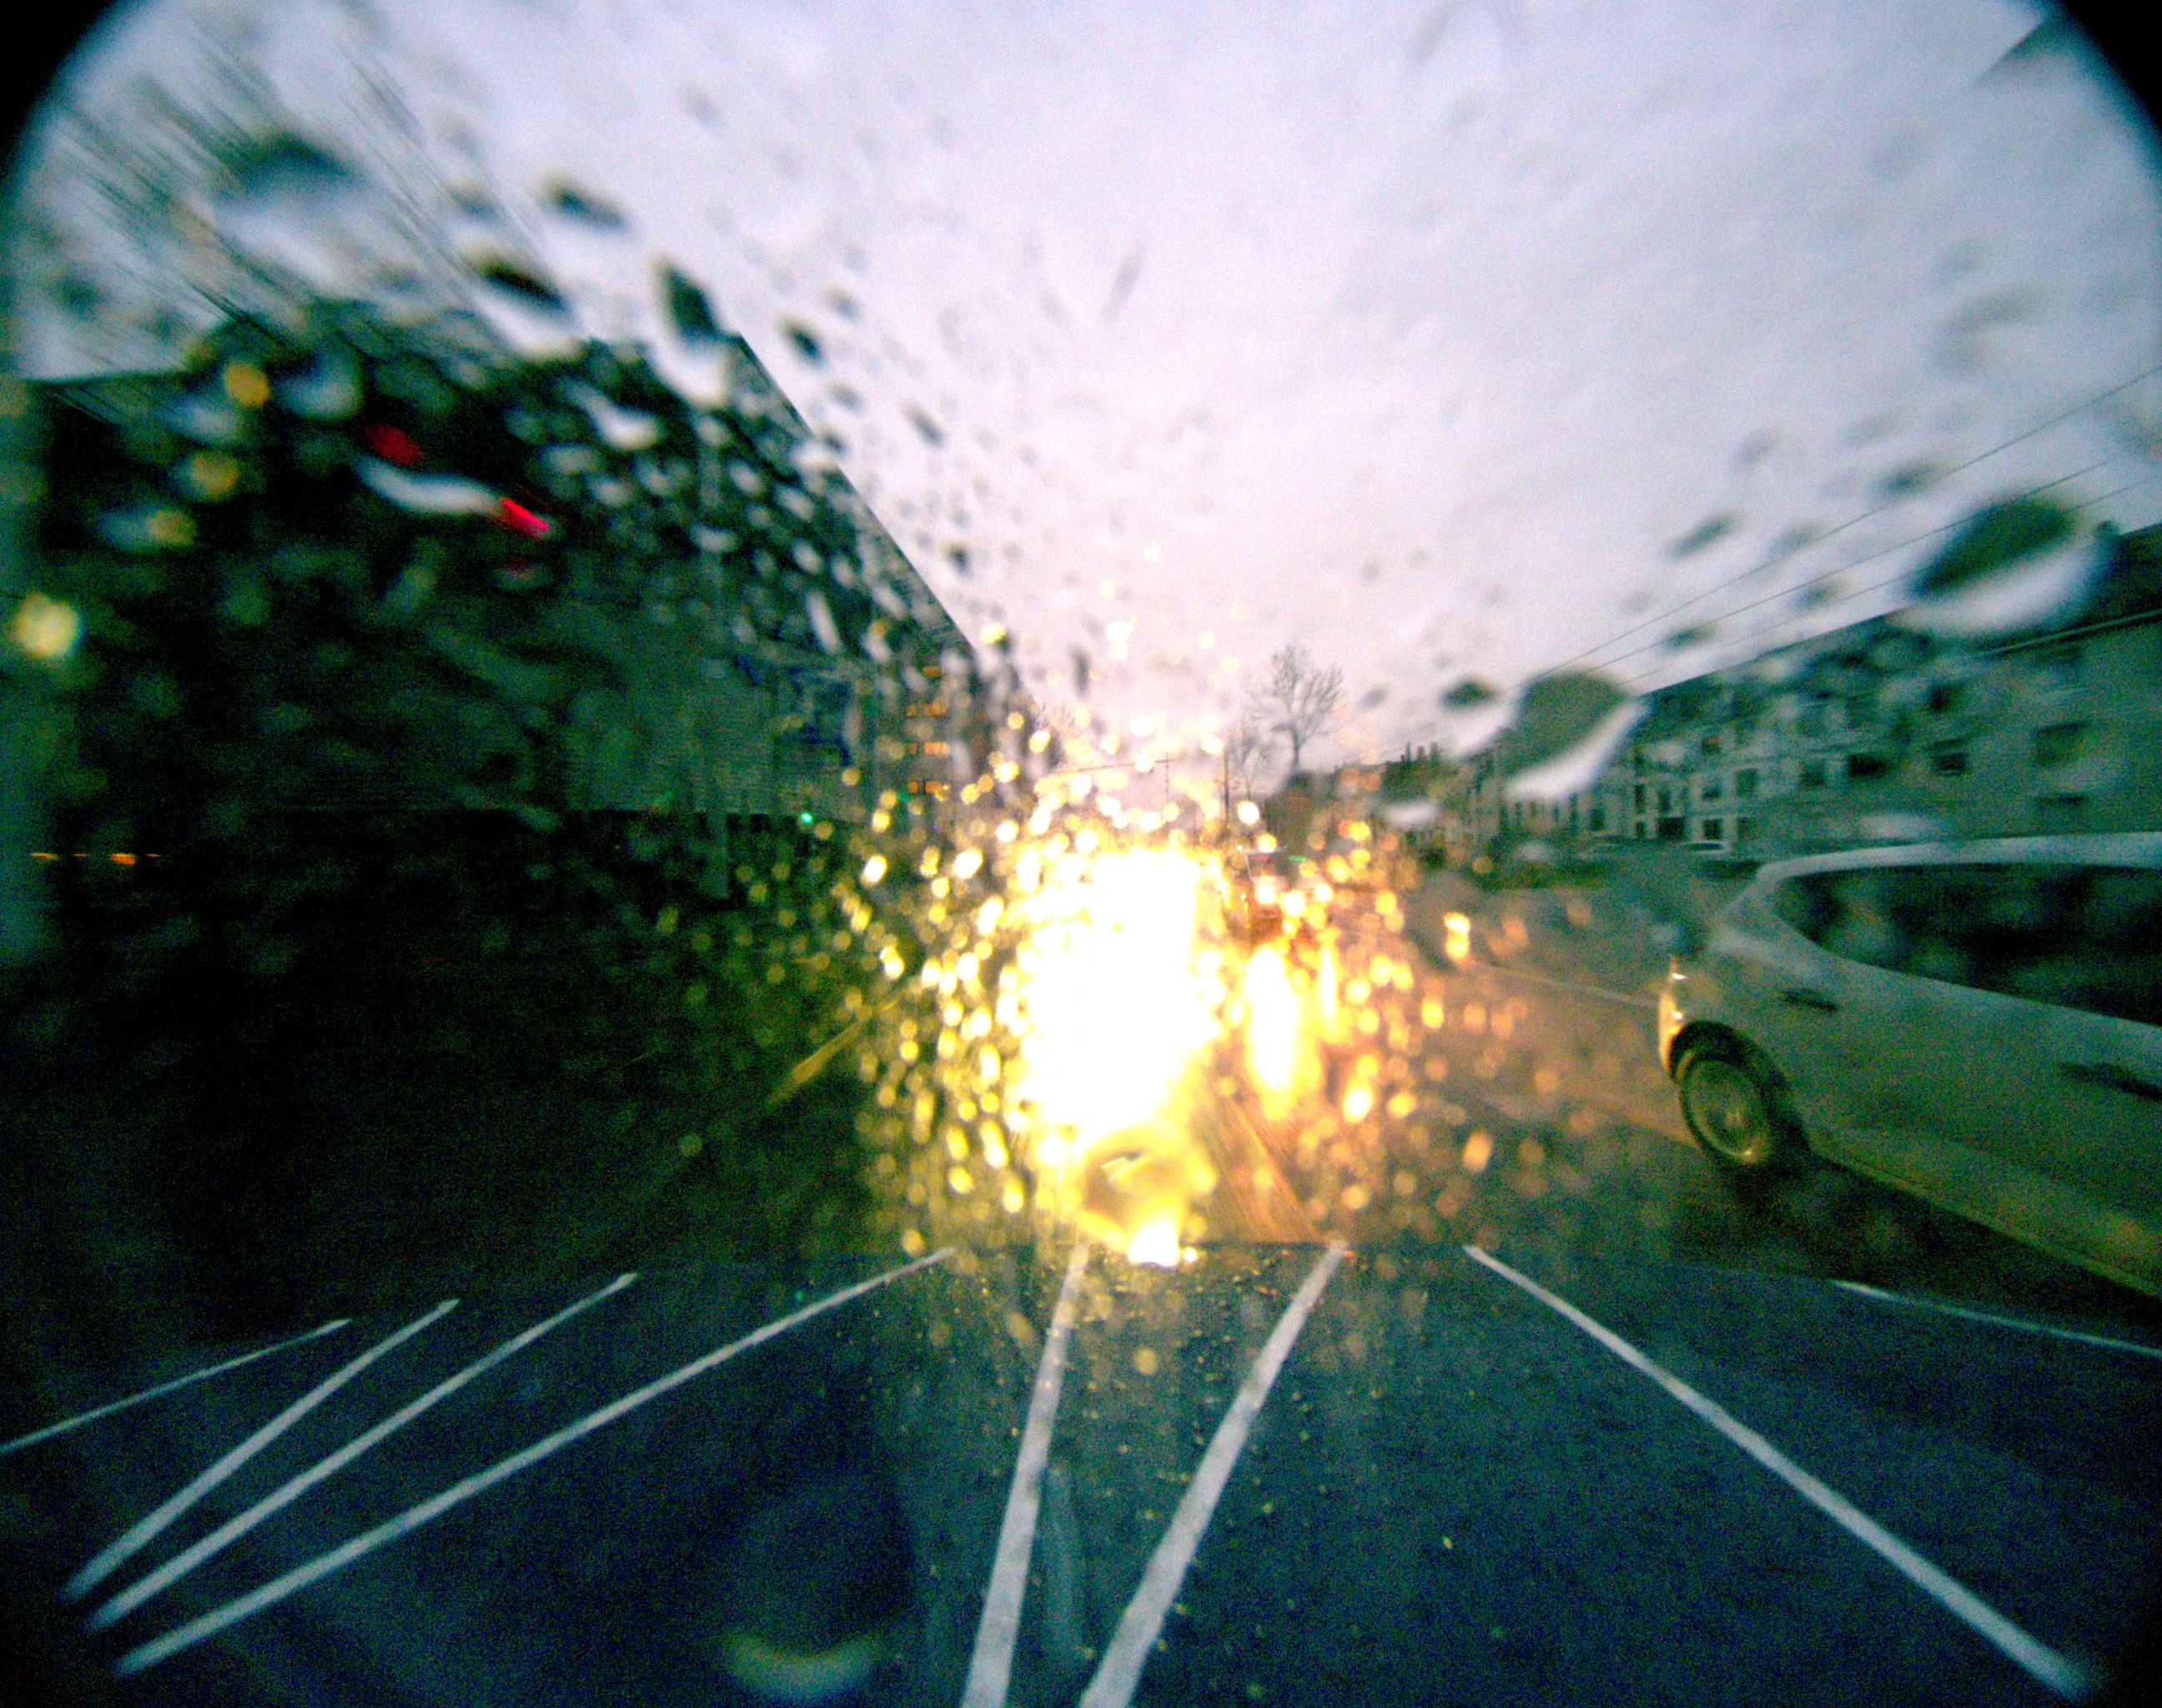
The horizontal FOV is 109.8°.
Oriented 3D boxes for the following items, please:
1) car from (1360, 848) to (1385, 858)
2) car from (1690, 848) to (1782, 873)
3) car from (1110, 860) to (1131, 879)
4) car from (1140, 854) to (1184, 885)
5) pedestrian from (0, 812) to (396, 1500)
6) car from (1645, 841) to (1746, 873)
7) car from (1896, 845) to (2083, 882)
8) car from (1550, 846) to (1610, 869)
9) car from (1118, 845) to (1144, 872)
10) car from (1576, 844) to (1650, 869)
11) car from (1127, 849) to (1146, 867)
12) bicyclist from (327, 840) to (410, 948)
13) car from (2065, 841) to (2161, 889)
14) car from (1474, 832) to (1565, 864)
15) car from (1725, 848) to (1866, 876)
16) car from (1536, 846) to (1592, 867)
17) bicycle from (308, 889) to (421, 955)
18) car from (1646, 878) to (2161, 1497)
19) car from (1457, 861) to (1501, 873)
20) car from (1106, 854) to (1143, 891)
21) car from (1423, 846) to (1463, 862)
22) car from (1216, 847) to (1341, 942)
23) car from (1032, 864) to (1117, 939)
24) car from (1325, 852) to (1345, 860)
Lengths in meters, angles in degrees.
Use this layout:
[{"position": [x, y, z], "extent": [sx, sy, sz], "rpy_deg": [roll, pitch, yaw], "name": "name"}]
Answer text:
[{"position": [37.405, -0.115, 97.549], "extent": [2.626, 1.100, 1.255], "rpy_deg": [-3, 1, 6], "name": "car"}, {"position": [31.478, 0.314, 36.621], "extent": [3.305, 1.125, 1.316], "rpy_deg": [-1, 0, 37], "name": "car"}, {"position": [3.244, 1.240, 62.052], "extent": [1.595, 1.428, 3.805], "rpy_deg": [-3, 0, 2], "name": "car"}, {"position": [4.216, 0.795, 40.082], "extent": [1.975, 1.492, 4.092], "rpy_deg": [-3, 0, 2], "name": "car"}, {"position": [-2.822, 0.791, 2.335], "extent": [0.772, 1.798, 0.699], "rpy_deg": [3, 2, 0], "name": "pedestrian"}, {"position": [31.990, 0.172, 39.664], "extent": [4.002, 1.496, 1.316], "rpy_deg": [-2, 1, 39], "name": "car"}, {"position": [31.521, 0.347, 26.555], "extent": [3.989, 1.125, 1.364], "rpy_deg": [-2, 1, 39], "name": "car"}, {"position": [32.659, 0.247, 49.758], "extent": [3.199, 1.376, 1.316], "rpy_deg": [-2, -1, 35], "name": "car"}, {"position": [3.559, 0.313, 54.052], "extent": [1.729, 1.730, 4.055], "rpy_deg": [-3, 1, 4], "name": "car"}, {"position": [32.374, 0.173, 46.312], "extent": [3.599, 1.376, 1.316], "rpy_deg": [-2, -1, 35], "name": "car"}, {"position": [5.709, 0.392, 78.626], "extent": [1.729, 1.646, 3.644], "rpy_deg": [-3, 1, 3], "name": "car"}, {"position": [-12.505, 0.702, 13.349], "extent": [0.730, 1.811, 0.842], "rpy_deg": [-2, -2, 26], "name": "bicyclist"}, {"position": [30.550, 0.285, 20.919], "extent": [3.989, 1.248, 1.446], "rpy_deg": [-2, 1, 37], "name": "car"}, {"position": [34.021, -0.430, 58.993], "extent": [5.893, 2.242, 1.825], "rpy_deg": [-2, 1, 37], "name": "car"}, {"position": [31.269, 0.385, 33.415], "extent": [4.393, 1.125, 1.250], "rpy_deg": [-1, 2, 37], "name": "car"}, {"position": [33.313, 0.176, 52.398], "extent": [3.100, 1.376, 1.316], "rpy_deg": [-2, -1, 37], "name": "car"}, {"position": [-12.597, 1.178, 13.358], "extent": [1.863, 1.084, 0.856], "rpy_deg": [-2, -2, 27], "name": "bicycle"}, {"position": [3.643, 0.914, 1.754], "extent": [1.712, 1.457, 3.999], "rpy_deg": [-3, 1, 1], "name": "car"}, {"position": [34.198, 1.111, 65.313], "extent": [3.100, 1.000, 1.189], "rpy_deg": [-2, -1, 37], "name": "car"}, {"position": [2.116, 0.874, 37.787], "extent": [1.654, 1.673, 3.685], "rpy_deg": [-3, -1, 2], "name": "car"}, {"position": [34.516, 0.008, 72.484], "extent": [3.197, 1.309, 1.554], "rpy_deg": [-2, 1, 34], "name": "car"}, {"position": [4.054, 0.753, 16.254], "extent": [2.020, 1.667, 4.001], "rpy_deg": [-3, 1, 7], "name": "car"}, {"position": [-0.052, 1.033, 18.051], "extent": [1.757, 1.418, 3.804], "rpy_deg": [-3, 1, 2], "name": "car"}, {"position": [37.106, 0.329, 110.913], "extent": [2.565, 0.981, 1.257], "rpy_deg": [-2, 1, 33], "name": "car"}]
